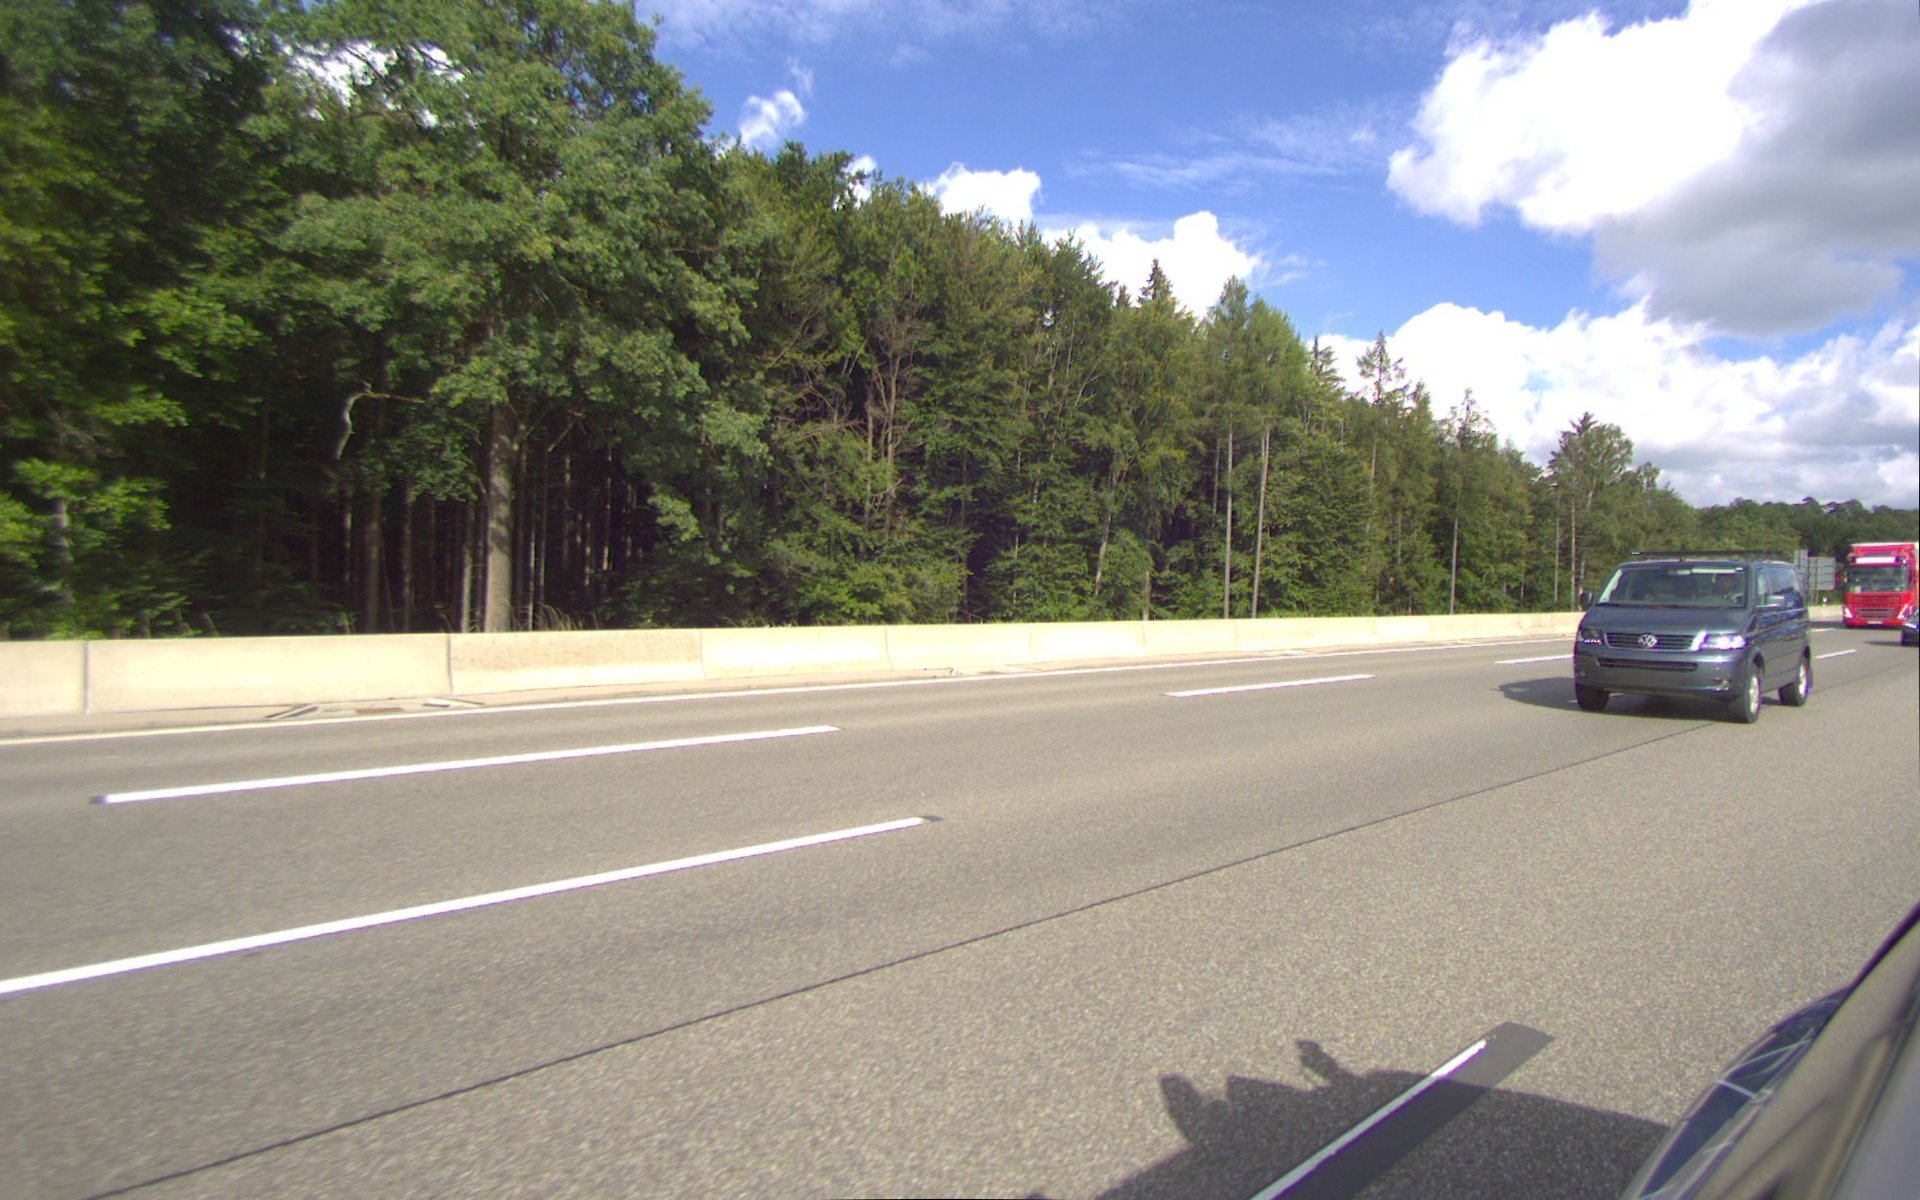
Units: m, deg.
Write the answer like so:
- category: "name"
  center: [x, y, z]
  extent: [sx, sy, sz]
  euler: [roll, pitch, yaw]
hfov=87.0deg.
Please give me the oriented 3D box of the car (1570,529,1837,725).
- category: "car"
  center: [10.163, 0.265, 13.669]
  extent: [4.875, 2.192, 1.925]
  euler: [0, 1, -42]

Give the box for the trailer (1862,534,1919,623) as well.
- category: "trailer"
  center: [49.666, -1.139, 52.517]
  extent: [14.128, 4.171, 2.529]
  euler: [-1, 1, -41]

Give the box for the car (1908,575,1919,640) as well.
- category: "car"
  center: [31.934, 0.232, 32.245]
  extent: [3.928, 2.039, 1.997]
  euler: [0, -1, -39]

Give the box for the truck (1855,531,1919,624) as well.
- category: "truck"
  center: [44.646, -1.075, 48.131]
  extent: [4.572, 4.255, 2.531]
  euler: [-1, 1, -41]
